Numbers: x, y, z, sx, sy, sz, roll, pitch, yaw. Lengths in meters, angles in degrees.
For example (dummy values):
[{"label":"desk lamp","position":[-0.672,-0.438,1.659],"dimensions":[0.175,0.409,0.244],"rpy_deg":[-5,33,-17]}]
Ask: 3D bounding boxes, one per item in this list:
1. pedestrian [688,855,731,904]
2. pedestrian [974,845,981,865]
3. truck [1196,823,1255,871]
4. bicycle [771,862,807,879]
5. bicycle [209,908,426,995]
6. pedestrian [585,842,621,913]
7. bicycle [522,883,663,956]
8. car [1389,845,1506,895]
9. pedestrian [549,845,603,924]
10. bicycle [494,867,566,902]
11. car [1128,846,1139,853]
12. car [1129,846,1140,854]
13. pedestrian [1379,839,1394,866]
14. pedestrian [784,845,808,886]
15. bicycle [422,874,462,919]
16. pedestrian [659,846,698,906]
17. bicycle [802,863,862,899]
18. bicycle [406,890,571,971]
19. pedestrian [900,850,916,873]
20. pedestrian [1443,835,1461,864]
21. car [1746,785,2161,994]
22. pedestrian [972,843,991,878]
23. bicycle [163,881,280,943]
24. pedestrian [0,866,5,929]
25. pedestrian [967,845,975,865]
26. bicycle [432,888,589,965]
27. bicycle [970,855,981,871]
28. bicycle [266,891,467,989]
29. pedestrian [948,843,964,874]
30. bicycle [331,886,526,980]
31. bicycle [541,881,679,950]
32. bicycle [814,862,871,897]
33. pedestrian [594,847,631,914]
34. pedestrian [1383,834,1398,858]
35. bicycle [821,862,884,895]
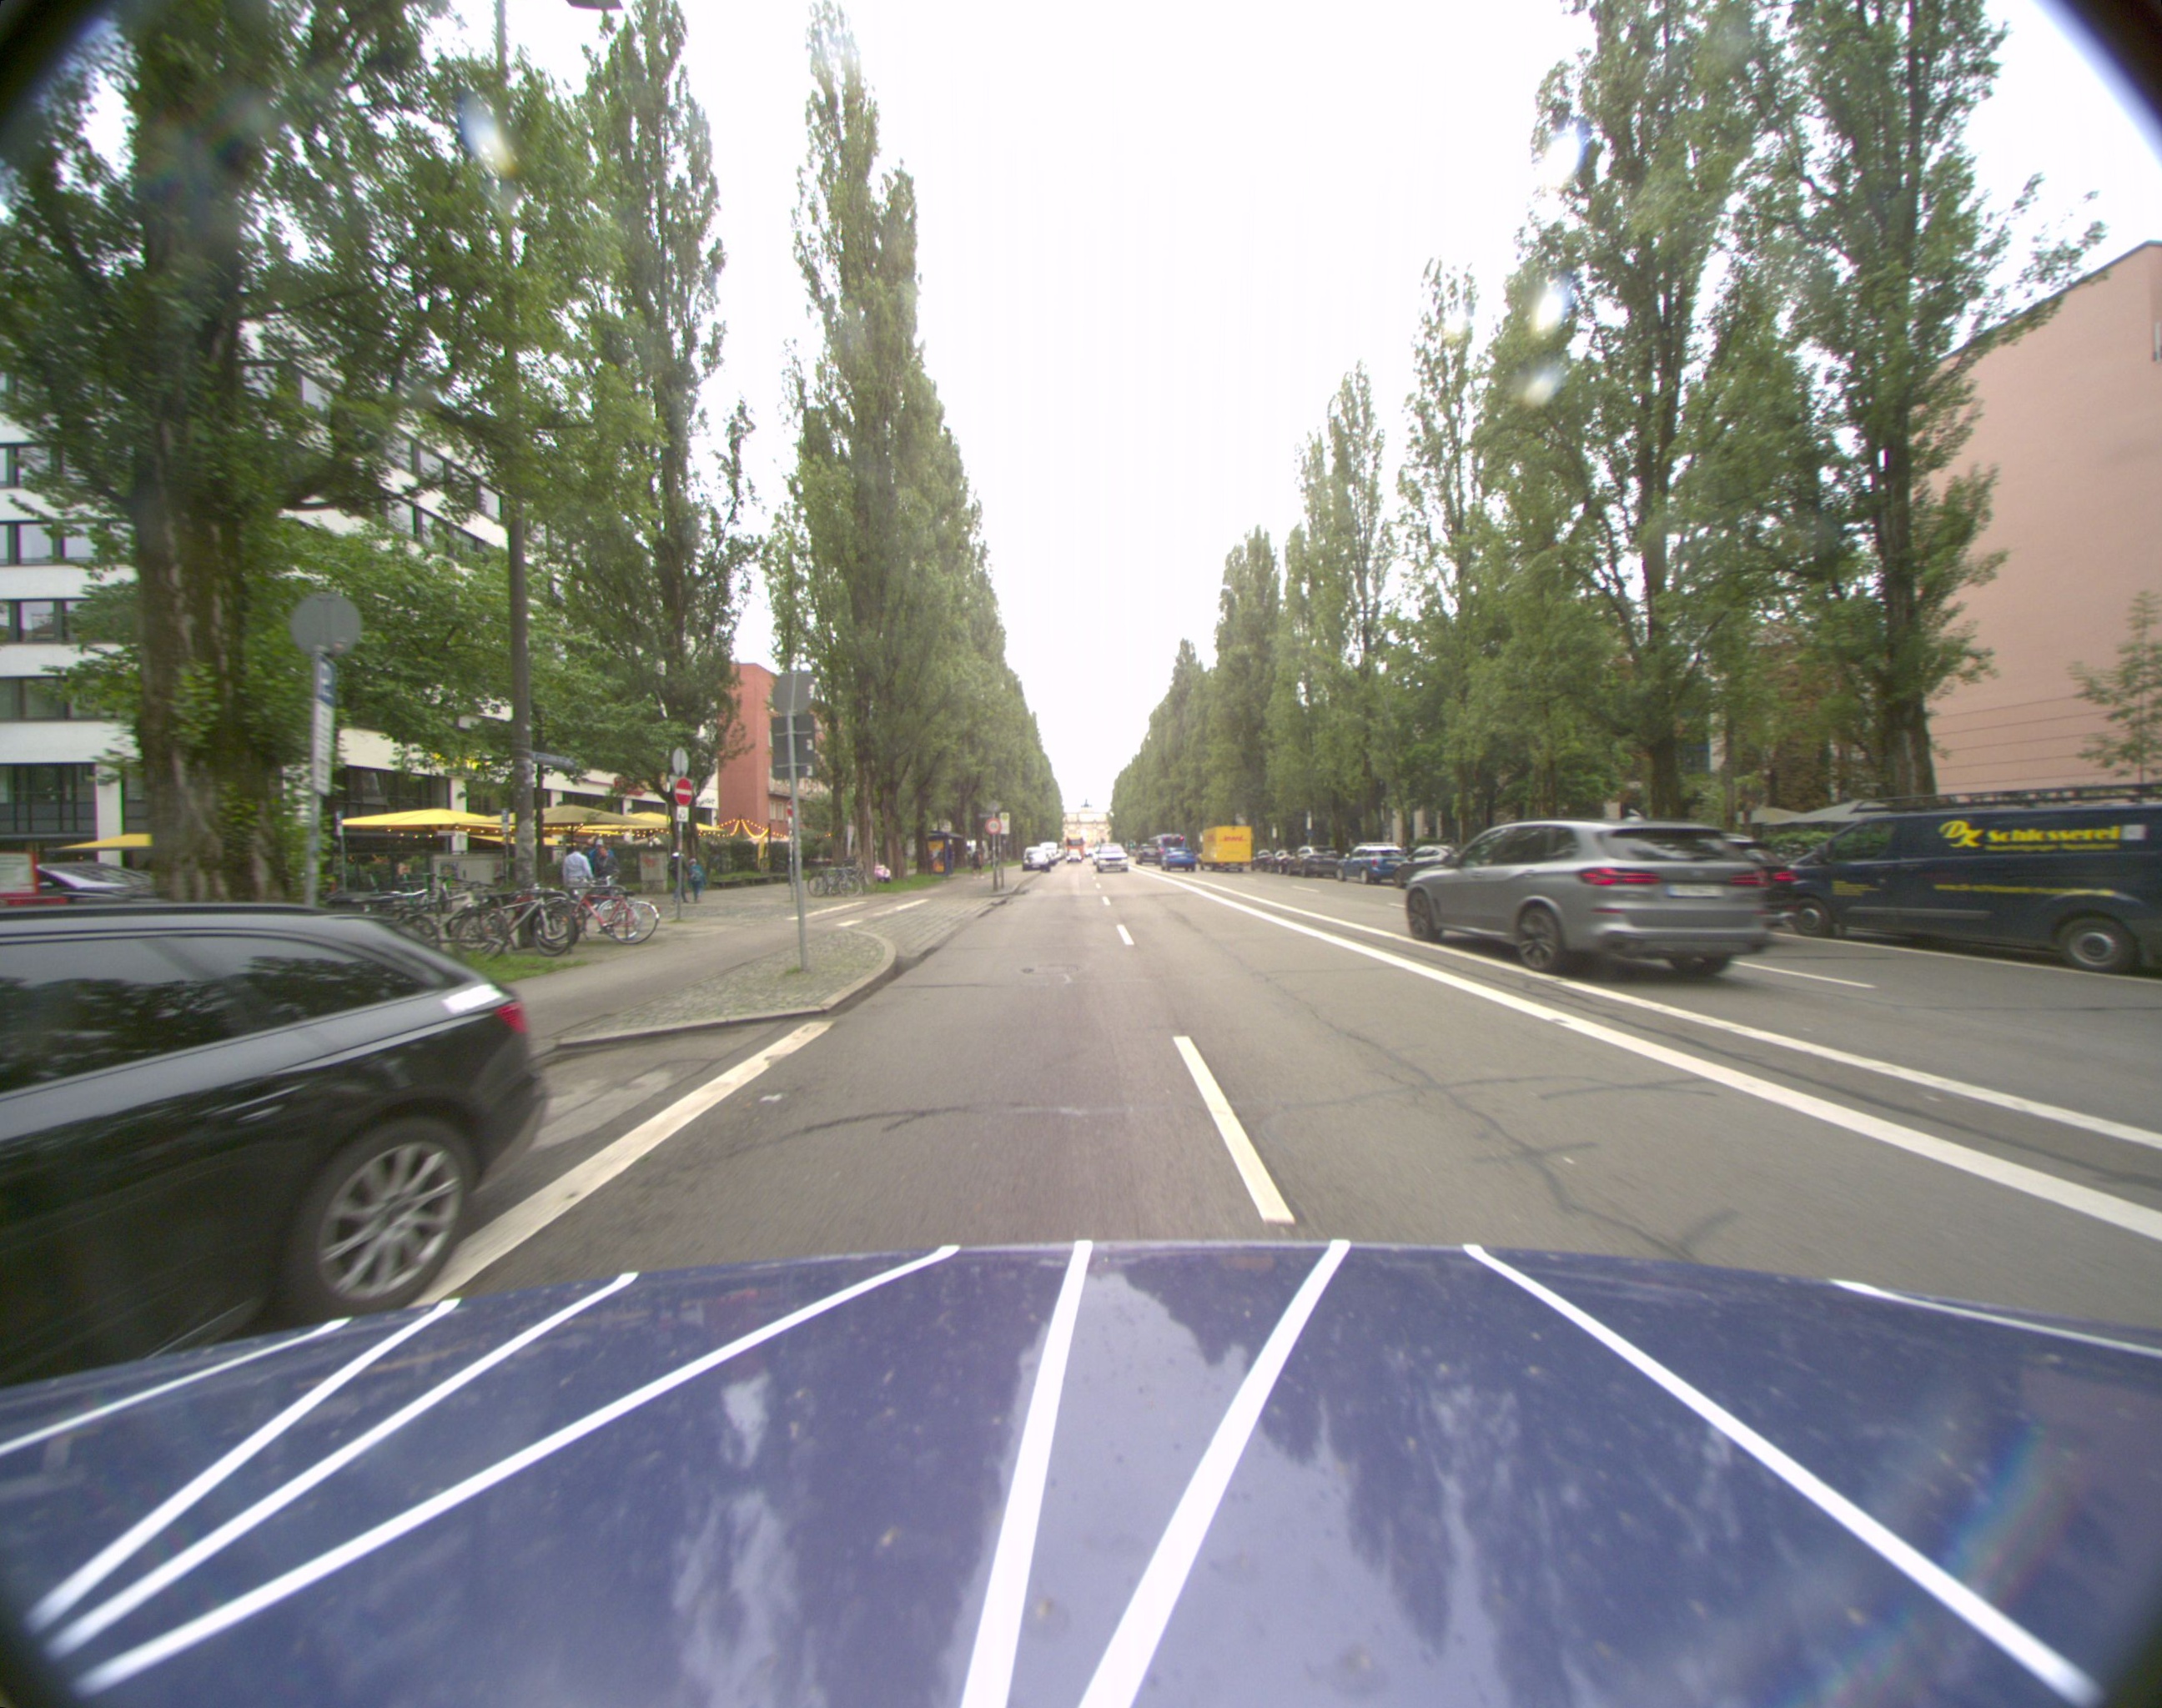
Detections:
[{"label":"pedestrian","position":[-10.954,0.752,22.418],"dimensions":[0.817,1.411,0.771],"rpy_deg":[-1,1,15]},{"label":"pedestrian","position":[-8.804,0.097,64.578],"dimensions":[0.517,1.683,0.486],"rpy_deg":[-1,1,4]},{"label":"truck","position":[9.438,-0.457,50.343],"dimensions":[2.599,2.891,7.079],"rpy_deg":[-1,1,1]},{"label":"bicycle","position":[-16.512,0.933,42.978],"dimensions":[1.801,0.907,0.620],"rpy_deg":[-1,1,-3]},{"label":"bicycle","position":[-7.793,0.981,7.780],"dimensions":[1.831,0.813,0.472],"rpy_deg":[0,1,4]},{"label":"pedestrian","position":[-12.993,0.627,20.657],"dimensions":[0.704,1.897,0.644],"rpy_deg":[-1,1,-24]},{"label":"bicycle","position":[-7.603,1.016,11.858],"dimensions":[1.875,1.044,0.476],"rpy_deg":[-1,1,1]},{"label":"car","position":[12.255,0.488,25.761],"dimensions":[1.792,1.520,4.514],"rpy_deg":[-1,1,0]},{"label":"pedestrian","position":[-11.369,0.672,17.124],"dimensions":[0.712,1.714,0.669],"rpy_deg":[-1,1,-1]},{"label":"bicycle","position":[-16.874,0.937,23.285],"dimensions":[1.762,1.016,0.554],"rpy_deg":[-1,1,-2]},{"label":"car","position":[11.654,-1.007,168.781],"dimensions":[1.998,1.712,4.348],"rpy_deg":[0,1,0]},{"label":"car","position":[11.496,-0.960,163.241],"dimensions":[1.998,1.712,4.348],"rpy_deg":[0,1,0]},{"label":"pedestrian","position":[19.699,-0.109,48.972],"dimensions":[0.708,1.704,0.732],"rpy_deg":[-1,1,1]},{"label":"pedestrian","position":[-12.139,0.482,32.403],"dimensions":[0.735,1.683,0.647],"rpy_deg":[-1,1,4]},{"label":"bicycle","position":[-17.718,1.150,21.101],"dimensions":[0.555,1.136,1.758],"rpy_deg":[-2,1,-31]},{"label":"pedestrian","position":[-11.493,0.625,21.696],"dimensions":[0.663,1.691,0.691],"rpy_deg":[-1,1,15]},{"label":"bicycle","position":[-7.869,0.840,24.043],"dimensions":[1.701,1.087,0.492],"rpy_deg":[-1,1,4]},{"label":"bicycle","position":[-8.030,1.027,10.331],"dimensions":[1.875,1.044,0.476],"rpy_deg":[0,1,1]},{"label":"pedestrian","position":[-12.823,0.528,56.376],"dimensions":[0.889,1.683,0.768],"rpy_deg":[-1,1,4]},{"label":"pedestrian","position":[21.938,-0.266,44.921],"dimensions":[0.708,1.704,0.732],"rpy_deg":[-1,1,1]},{"label":"car","position":[12.312,0.336,10.180],"dimensions":[2.022,2.184,5.496],"rpy_deg":[-1,1,0]},{"label":"pedestrian","position":[-5.061,0.342,38.662],"dimensions":[0.752,1.763,0.706],"rpy_deg":[-1,1,4]},{"label":"bicycle","position":[-16.238,1.088,14.366],"dimensions":[1.874,1.130,0.476],"rpy_deg":[-1,1,8]},{"label":"pedestrian","position":[-29.570,1.192,20.118],"dimensions":[0.799,1.696,0.929],"rpy_deg":[-1,1,2]},{"label":"pedestrian","position":[-9.341,0.118,64.611],"dimensions":[0.517,1.683,0.486],"rpy_deg":[-1,1,4]},{"label":"bicycle","position":[-8.107,1.023,10.827],"dimensions":[1.875,1.044,0.476],"rpy_deg":[0,1,1]},{"label":"bicycle","position":[-6.944,0.565,49.969],"dimensions":[0.553,1.016,1.762],"rpy_deg":[-1,1,-3]},{"label":"bicycle","position":[-7.957,0.942,8.492],"dimensions":[1.831,1.032,0.513],"rpy_deg":[0,1,4]},{"label":"pedestrian","position":[-7.604,0.274,46.189],"dimensions":[0.890,1.833,0.767],"rpy_deg":[-1,1,-8]},{"label":"bicycle","position":[-8.046,0.964,9.408],"dimensions":[1.929,1.099,0.513],"rpy_deg":[0,1,-1]},{"label":"bicycle","position":[-7.654,0.991,12.401],"dimensions":[1.876,1.044,0.475],"rpy_deg":[0,1,-6]},{"label":"bicycle","position":[-7.762,0.834,24.753],"dimensions":[1.701,1.087,0.492],"rpy_deg":[-1,1,4]},{"label":"pedestrian","position":[-12.333,0.671,20.013],"dimensions":[0.704,1.718,0.644],"rpy_deg":[-1,1,-24]},{"label":"pedestrian","position":[21.940,-0.567,53.886],"dimensions":[0.708,1.704,0.732],"rpy_deg":[-1,1,1]},{"label":"bicycle","position":[-7.751,0.834,25.774],"dimensions":[1.982,1.087,0.492],"rpy_deg":[-1,1,4]}]
